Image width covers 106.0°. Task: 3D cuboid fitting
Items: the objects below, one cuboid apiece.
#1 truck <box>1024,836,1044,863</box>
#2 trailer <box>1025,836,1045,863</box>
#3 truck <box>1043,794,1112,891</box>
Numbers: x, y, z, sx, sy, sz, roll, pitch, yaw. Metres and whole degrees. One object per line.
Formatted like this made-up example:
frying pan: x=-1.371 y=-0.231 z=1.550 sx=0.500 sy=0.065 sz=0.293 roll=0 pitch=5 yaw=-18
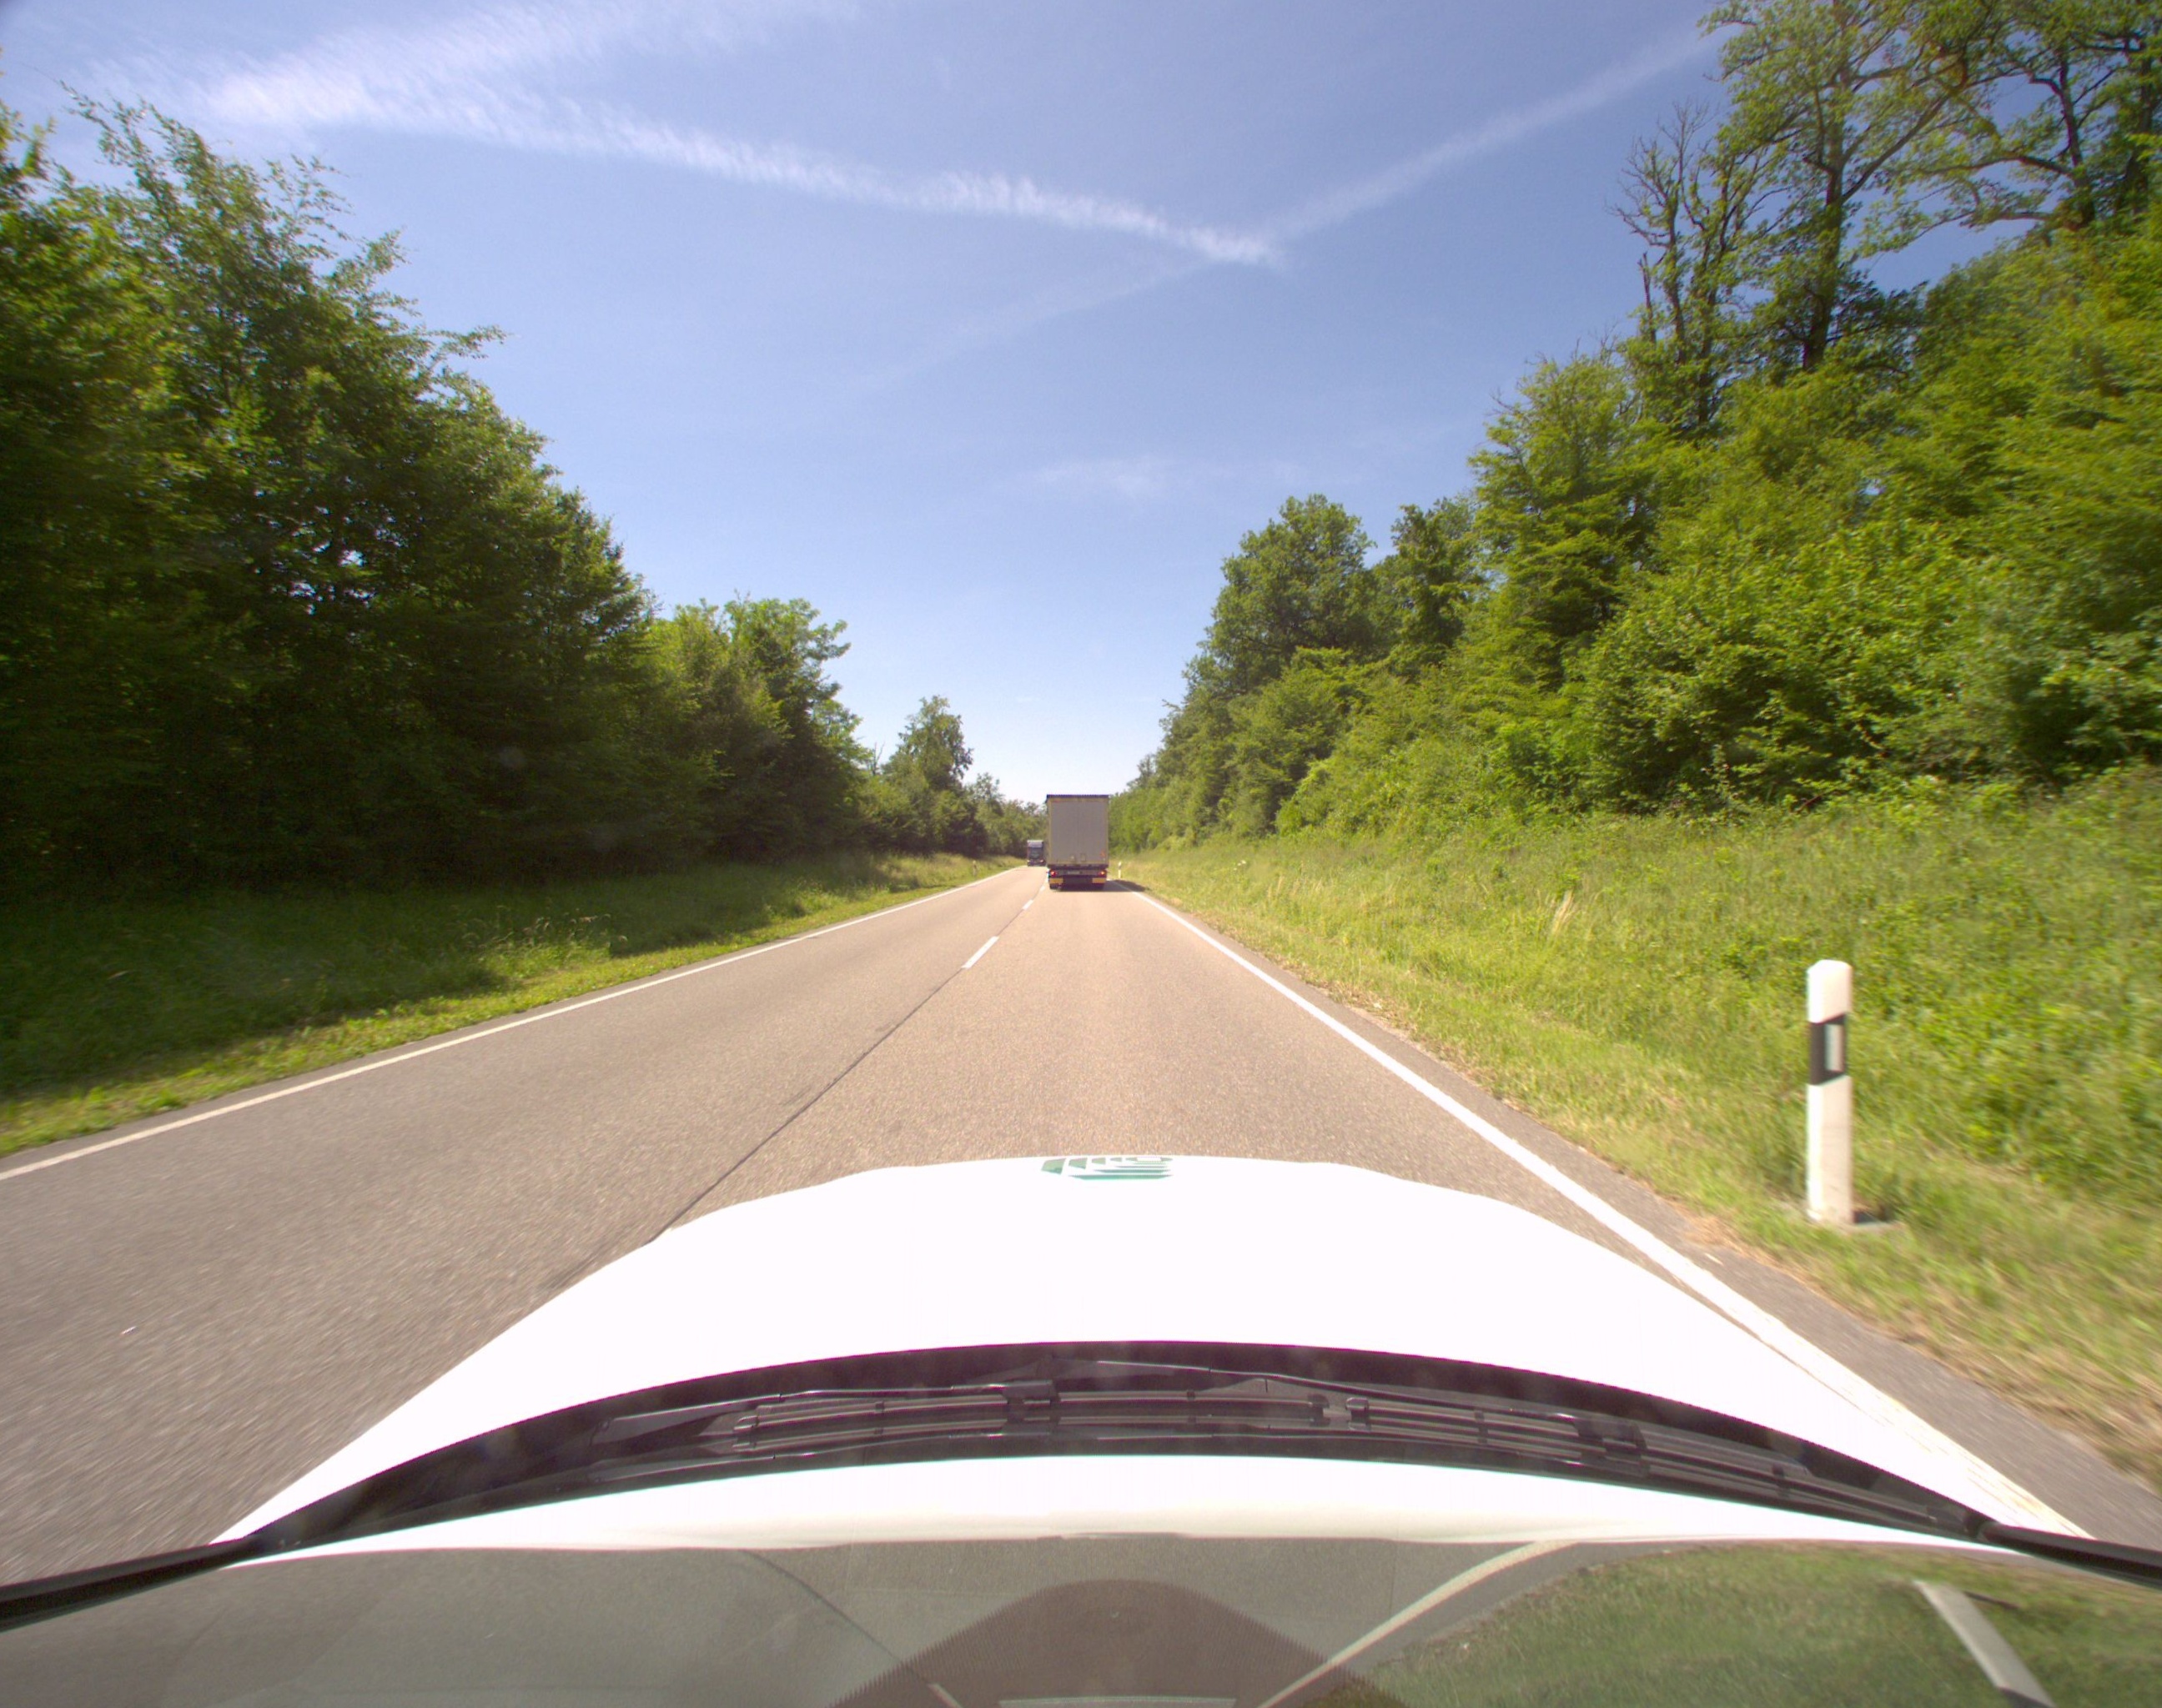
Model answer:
truck: x=-7.382 y=-0.695 z=128.470 sx=2.915 sy=4.216 sz=5.338 roll=-1 pitch=0 yaw=-2
trailer: x=-7.638 y=-0.724 z=135.610 sx=2.934 sy=4.252 sz=13.608 roll=-1 pitch=0 yaw=-2
truck: x=-0.306 y=-0.477 z=39.277 sx=2.754 sy=3.947 sz=12.189 roll=-1 pitch=0 yaw=-2
